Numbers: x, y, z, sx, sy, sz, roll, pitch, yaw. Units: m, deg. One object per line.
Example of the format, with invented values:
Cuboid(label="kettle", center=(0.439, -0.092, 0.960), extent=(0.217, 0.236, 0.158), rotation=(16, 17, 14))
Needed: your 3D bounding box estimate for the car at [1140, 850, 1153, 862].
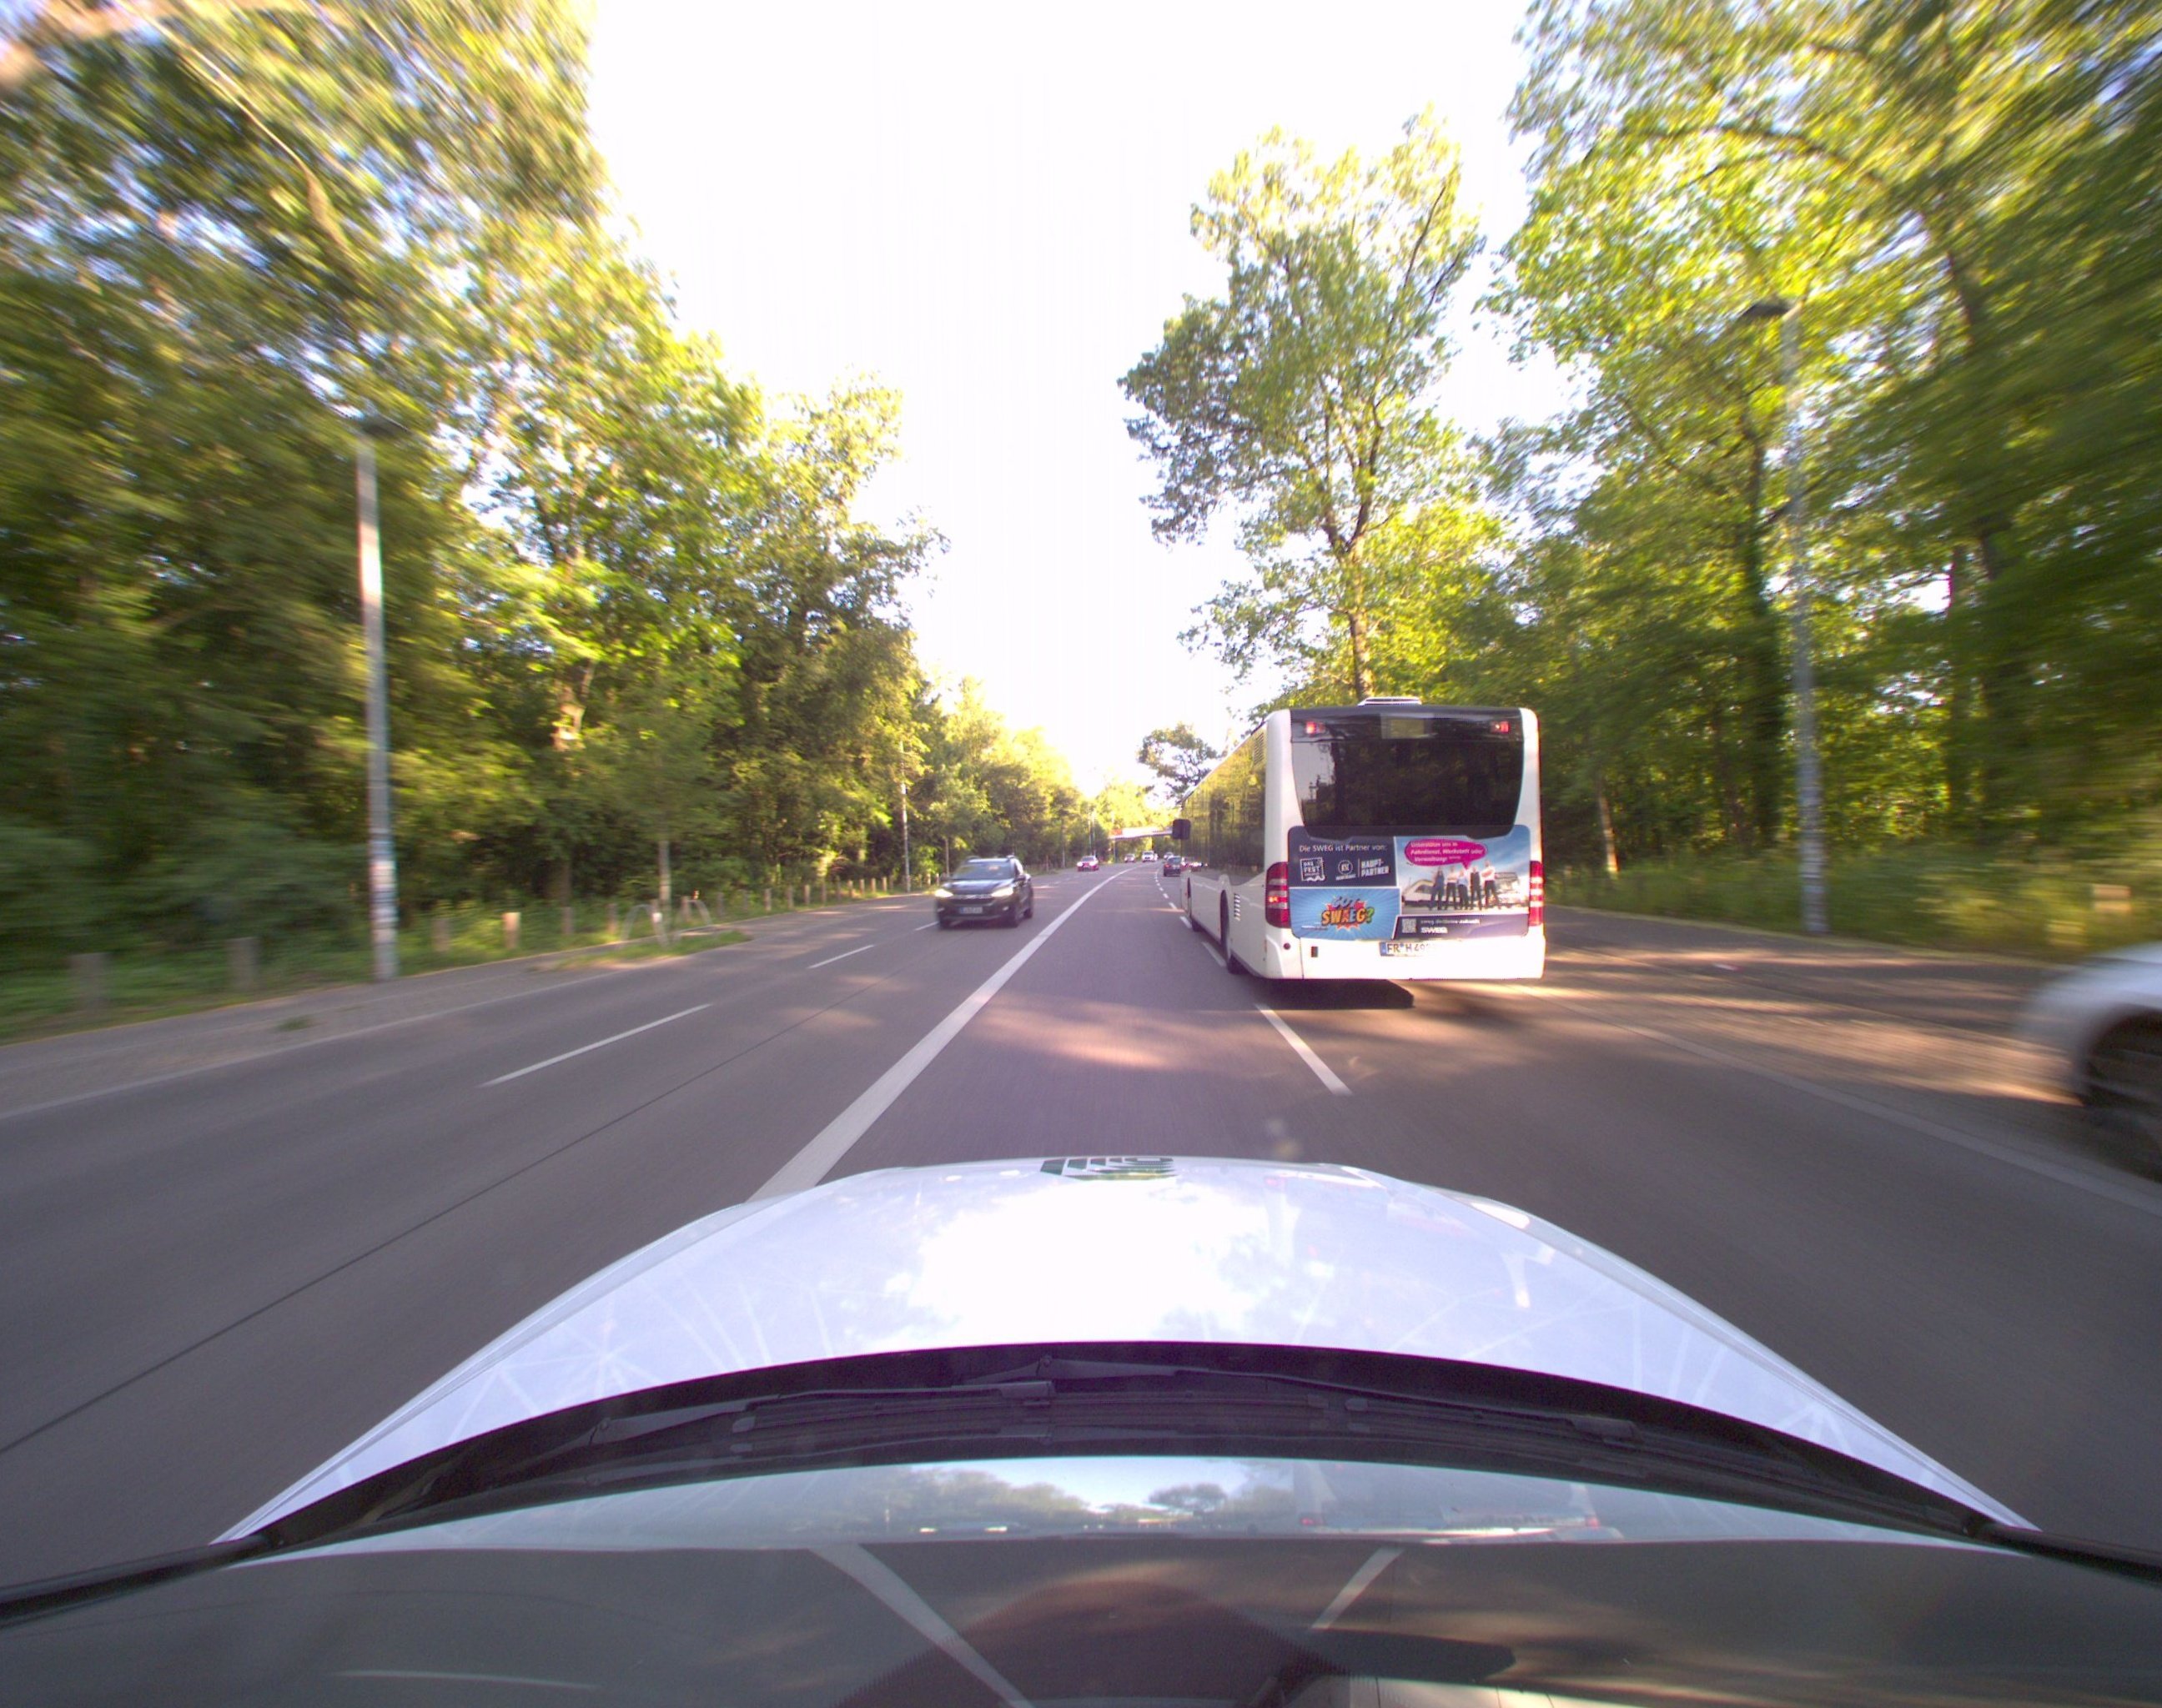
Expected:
Cuboid(label="car", center=(11.698, 0.325, 145.008), extent=(2.196, 1.961, 4.919), rotation=(-5, 0, 5))

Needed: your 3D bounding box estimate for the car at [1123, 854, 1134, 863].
Cuboid(label="car", center=(8.343, 0.767, 143.413), extent=(1.791, 1.599, 4.006), rotation=(-2, 0, 5))

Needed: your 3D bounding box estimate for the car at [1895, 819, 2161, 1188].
Cuboid(label="car", center=(5.546, 0.630, 2.466), extent=(1.798, 1.560, 4.461), rotation=(-5, 0, 4))

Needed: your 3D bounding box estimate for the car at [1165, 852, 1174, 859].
Cuboid(label="car", center=(20.347, 0.319, 187.109), extent=(1.907, 1.704, 4.453), rotation=(-2, 0, 8))

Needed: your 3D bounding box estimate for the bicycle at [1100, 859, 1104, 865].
Cuboid(label="bicycle", center=(3.539, 1.319, 136.986), extent=(0.492, 0.813, 1.812), rotation=(-5, 0, 7))

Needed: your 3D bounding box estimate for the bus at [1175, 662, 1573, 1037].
Cuboid(label="bus", center=(3.273, -0.023, 13.300), extent=(2.692, 3.222, 12.290), rotation=(-2, 0, 3))

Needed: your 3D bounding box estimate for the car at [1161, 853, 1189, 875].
Cuboid(label="car", center=(6.650, 0.677, 57.907), extent=(1.720, 1.441, 4.093), rotation=(-2, 0, 3))

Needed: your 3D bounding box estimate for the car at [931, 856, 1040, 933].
Cuboid(label="car", center=(-2.126, 0.869, 19.261), extent=(1.798, 1.545, 4.093), rotation=(-2, 0, 3))

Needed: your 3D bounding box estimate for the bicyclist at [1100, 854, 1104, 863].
Cuboid(label="bicyclist", center=(3.498, 0.821, 137.003), extent=(0.496, 1.484, 0.762), rotation=(-4, 0, 7))

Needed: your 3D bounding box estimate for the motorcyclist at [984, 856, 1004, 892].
Cuboid(label="motorcyclist", center=(-3.755, 0.853, 35.249), extent=(0.653, 1.540, 0.905), rotation=(-2, 0, 2))

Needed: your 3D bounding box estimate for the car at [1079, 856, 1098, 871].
Cuboid(label="car", center=(0.778, 0.966, 83.617), extent=(1.817, 1.462, 4.926), rotation=(-2, 0, 1))
